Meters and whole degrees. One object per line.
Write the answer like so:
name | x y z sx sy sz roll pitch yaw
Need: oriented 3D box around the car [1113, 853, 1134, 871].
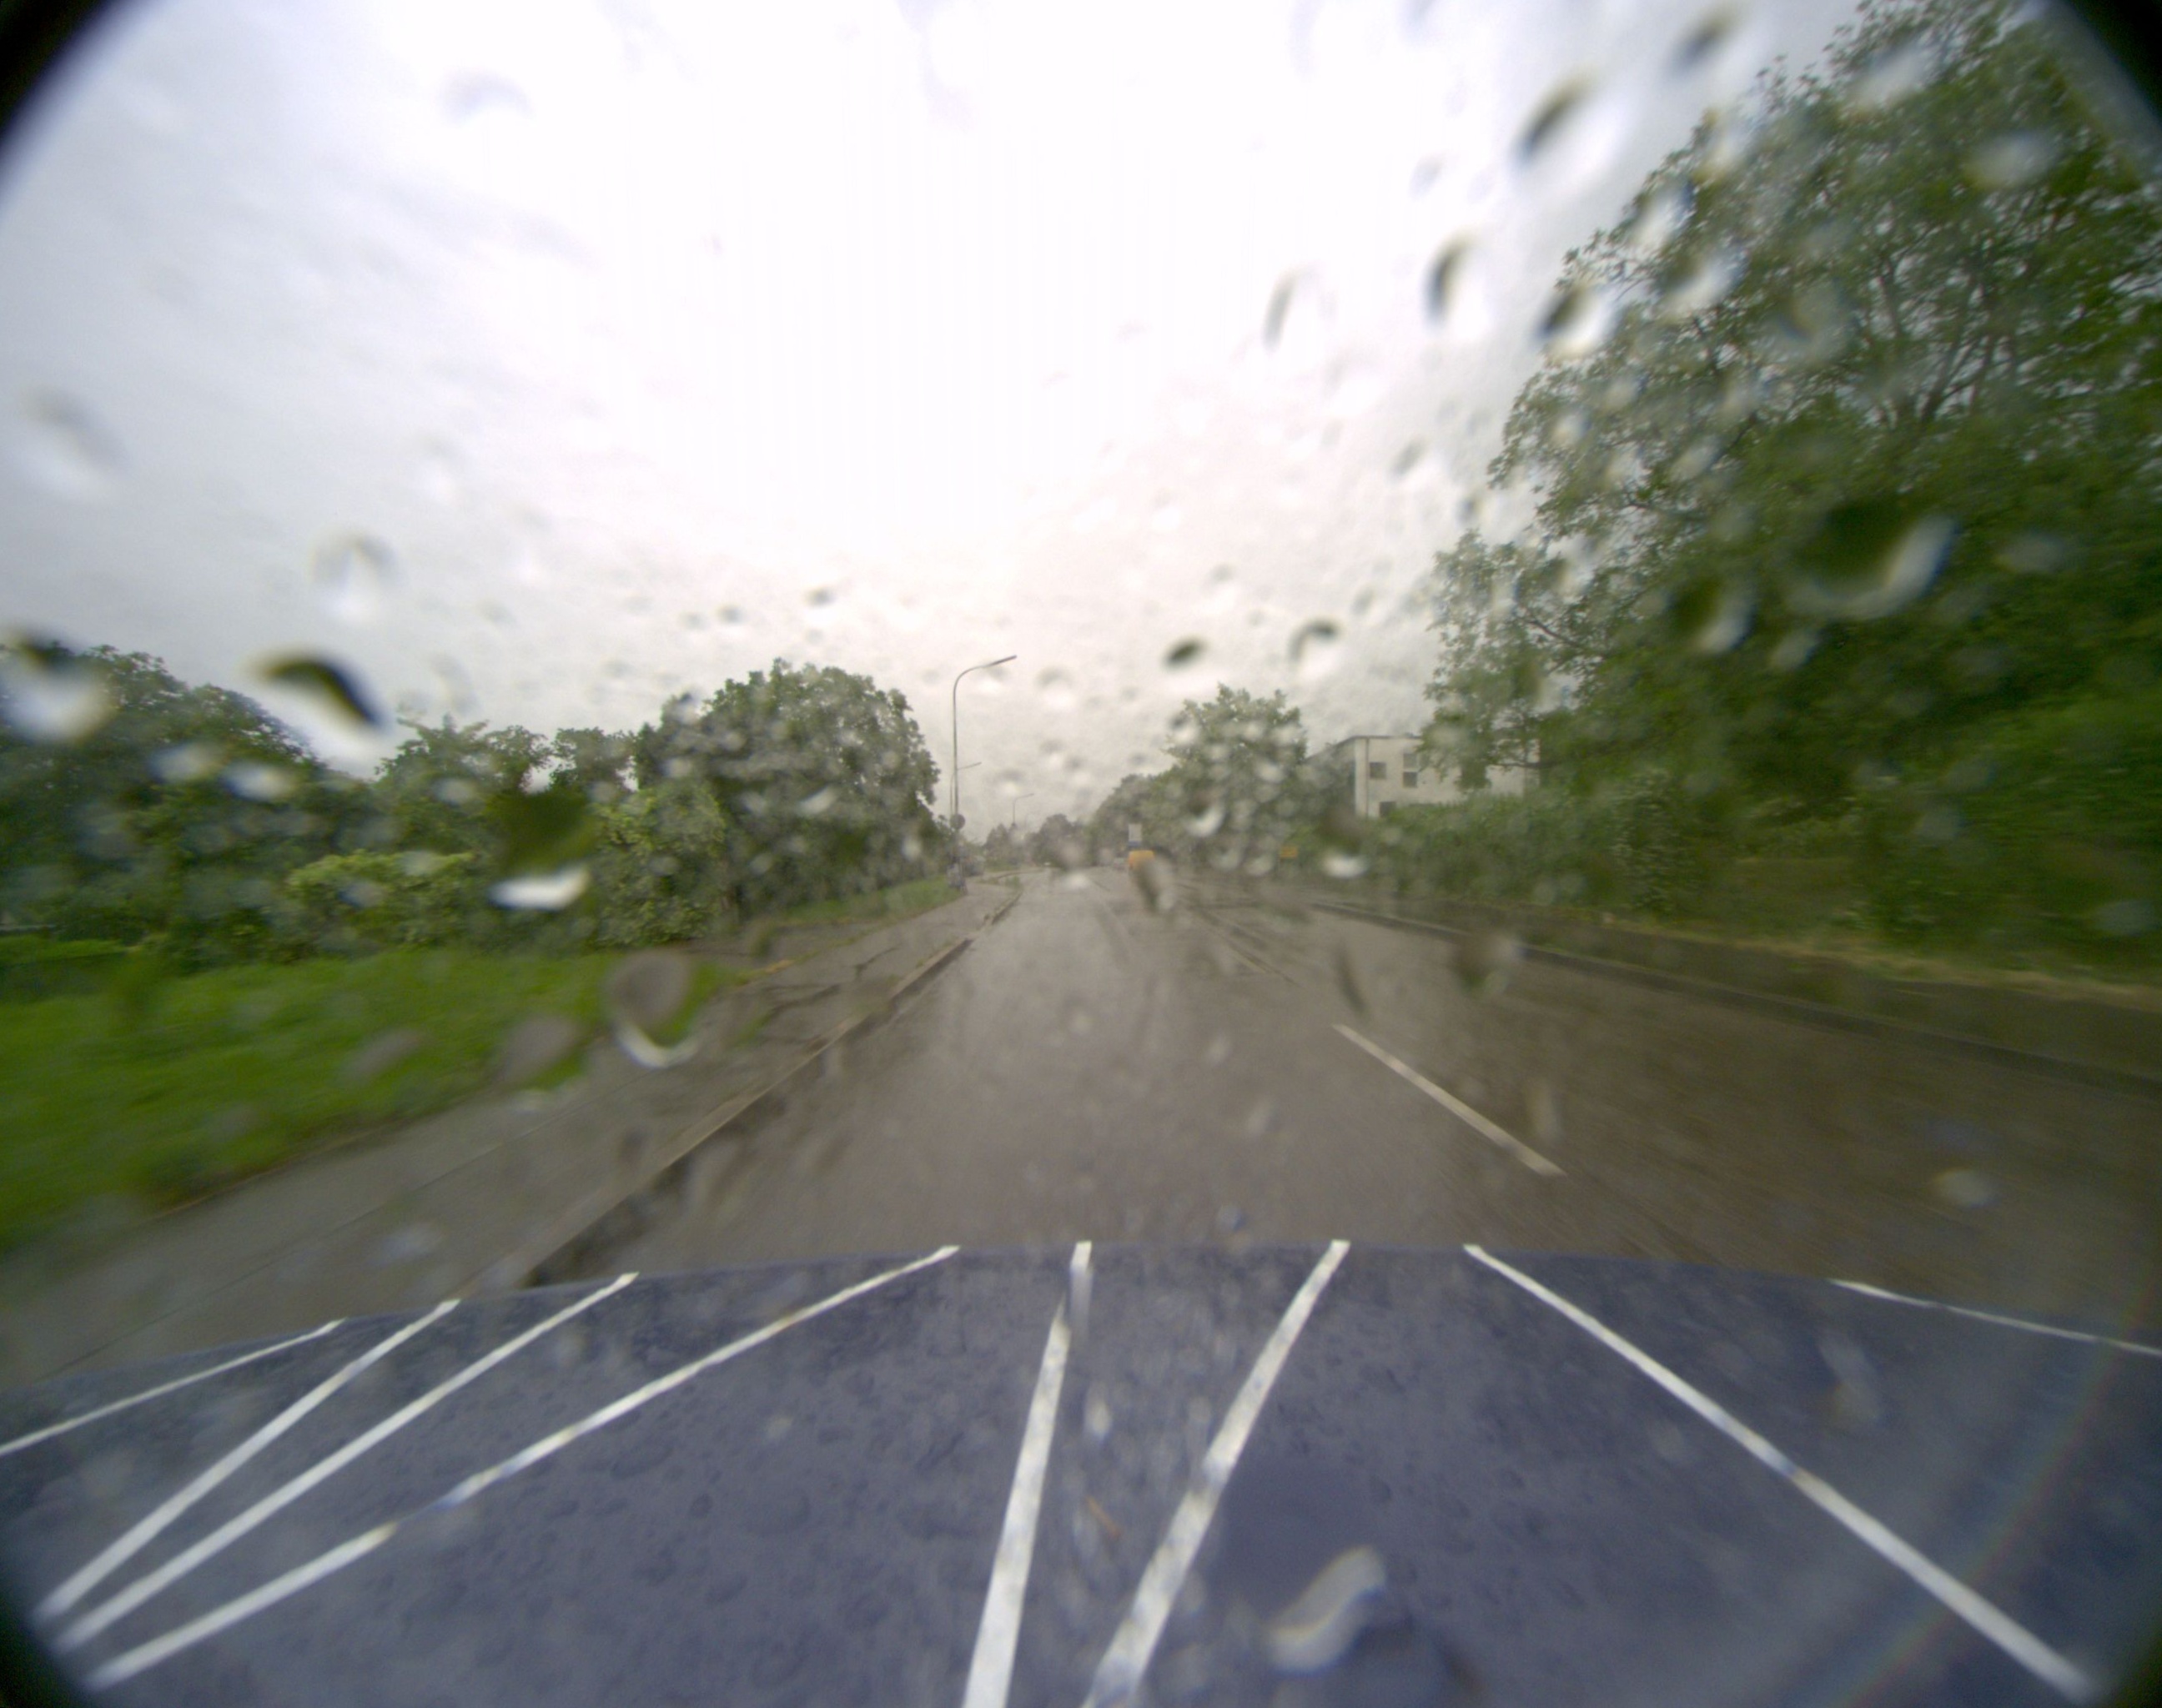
car | 4.155 0.768 74.374 1.830 1.543 3.615 -3 0 0

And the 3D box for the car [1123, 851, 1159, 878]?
car | 4.375 0.748 56.000 1.999 1.865 4.469 -3 0 -2

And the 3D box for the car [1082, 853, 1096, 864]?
car | 1.178 0.618 109.822 1.823 1.499 4.001 -2 0 3
